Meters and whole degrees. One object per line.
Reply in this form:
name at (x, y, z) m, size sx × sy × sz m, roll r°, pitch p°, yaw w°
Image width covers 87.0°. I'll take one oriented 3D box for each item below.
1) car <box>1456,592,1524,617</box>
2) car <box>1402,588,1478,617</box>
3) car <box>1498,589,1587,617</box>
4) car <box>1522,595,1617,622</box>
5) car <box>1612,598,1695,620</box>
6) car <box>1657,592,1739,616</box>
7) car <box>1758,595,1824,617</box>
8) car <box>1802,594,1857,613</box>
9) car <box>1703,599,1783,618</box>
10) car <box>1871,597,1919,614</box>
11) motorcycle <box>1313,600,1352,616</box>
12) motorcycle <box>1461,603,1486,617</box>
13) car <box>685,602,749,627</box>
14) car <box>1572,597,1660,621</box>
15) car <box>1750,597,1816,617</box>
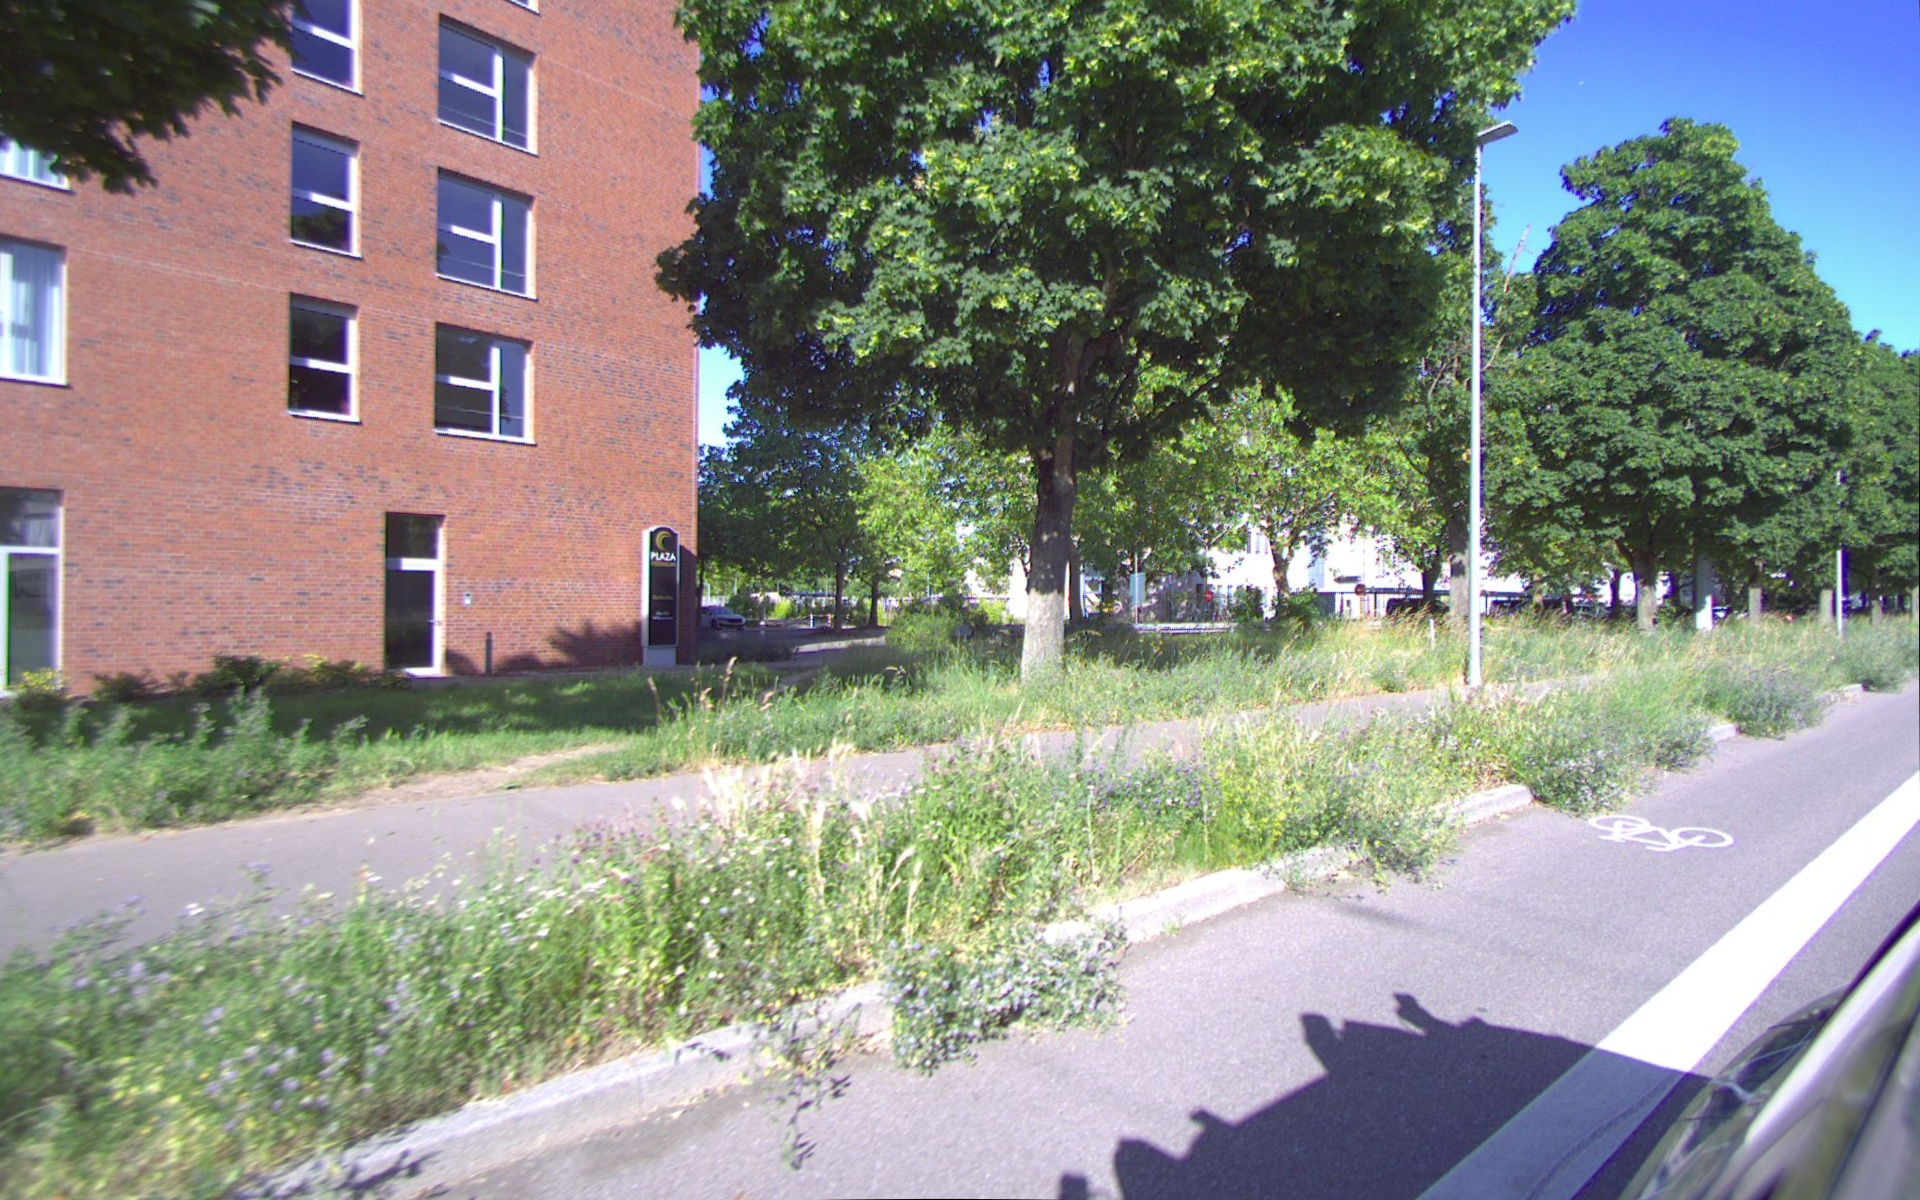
car at (44.970, 0.383, 85.906) m, size 1.938 × 1.975 × 4.761 m, roll 1°, pitch 0°, yaw -38°
car at (34.681, 0.177, 73.243) m, size 1.921 × 2.039 × 4.599 m, roll 0°, pitch 0°, yaw -36°
car at (32.870, 0.161, 57.156) m, size 1.706 × 1.524 × 4.041 m, roll 0°, pitch 0°, yaw -37°
car at (34.903, 0.451, 58.072) m, size 1.656 × 1.477 × 4.371 m, roll 0°, pitch 0°, yaw -34°
car at (48.104, 0.616, 70.271) m, size 1.902 × 1.341 × 4.309 m, roll 2°, pitch 0°, yaw -33°
car at (52.654, 0.275, 72.265) m, size 1.851 × 1.617 × 4.399 m, roll 0°, pitch 0°, yaw -40°
car at (71.513, 0.488, 87.124) m, size 4.334 × 1.721 × 1.738 m, roll 2°, pitch 1°, yaw 44°
car at (79.823, 0.332, 92.956) m, size 1.692 × 1.659 × 3.985 m, roll 0°, pitch 0°, yaw 2°
car at (61.257, 0.642, 79.232) m, size 1.775 × 1.287 × 4.707 m, roll 2°, pitch 0°, yaw -40°
car at (107.085, 0.669, 115.433) m, size 2.045 × 1.900 × 5.174 m, roll 0°, pitch 0°, yaw 8°
motorcycle at (32.266, 0.649, 87.757) m, size 0.999 × 1.338 × 3.036 m, roll 1°, pitch 0°, yaw -43°
motorcycle at (39.409, 0.757, 77.610) m, size 0.528 × 0.983 × 1.653 m, roll 1°, pitch 0°, yaw -38°
car at (-14.253, 0.823, 59.209) m, size 1.800 × 1.417 × 4.518 m, roll 0°, pitch -1°, yaw -41°
car at (40.013, 0.525, 61.798) m, size 1.789 × 1.450 × 4.179 m, roll 0°, pitch 0°, yaw -34°
car at (69.839, 0.549, 85.877) m, size 4.230 × 1.555 × 1.738 m, roll 2°, pitch 1°, yaw 44°
